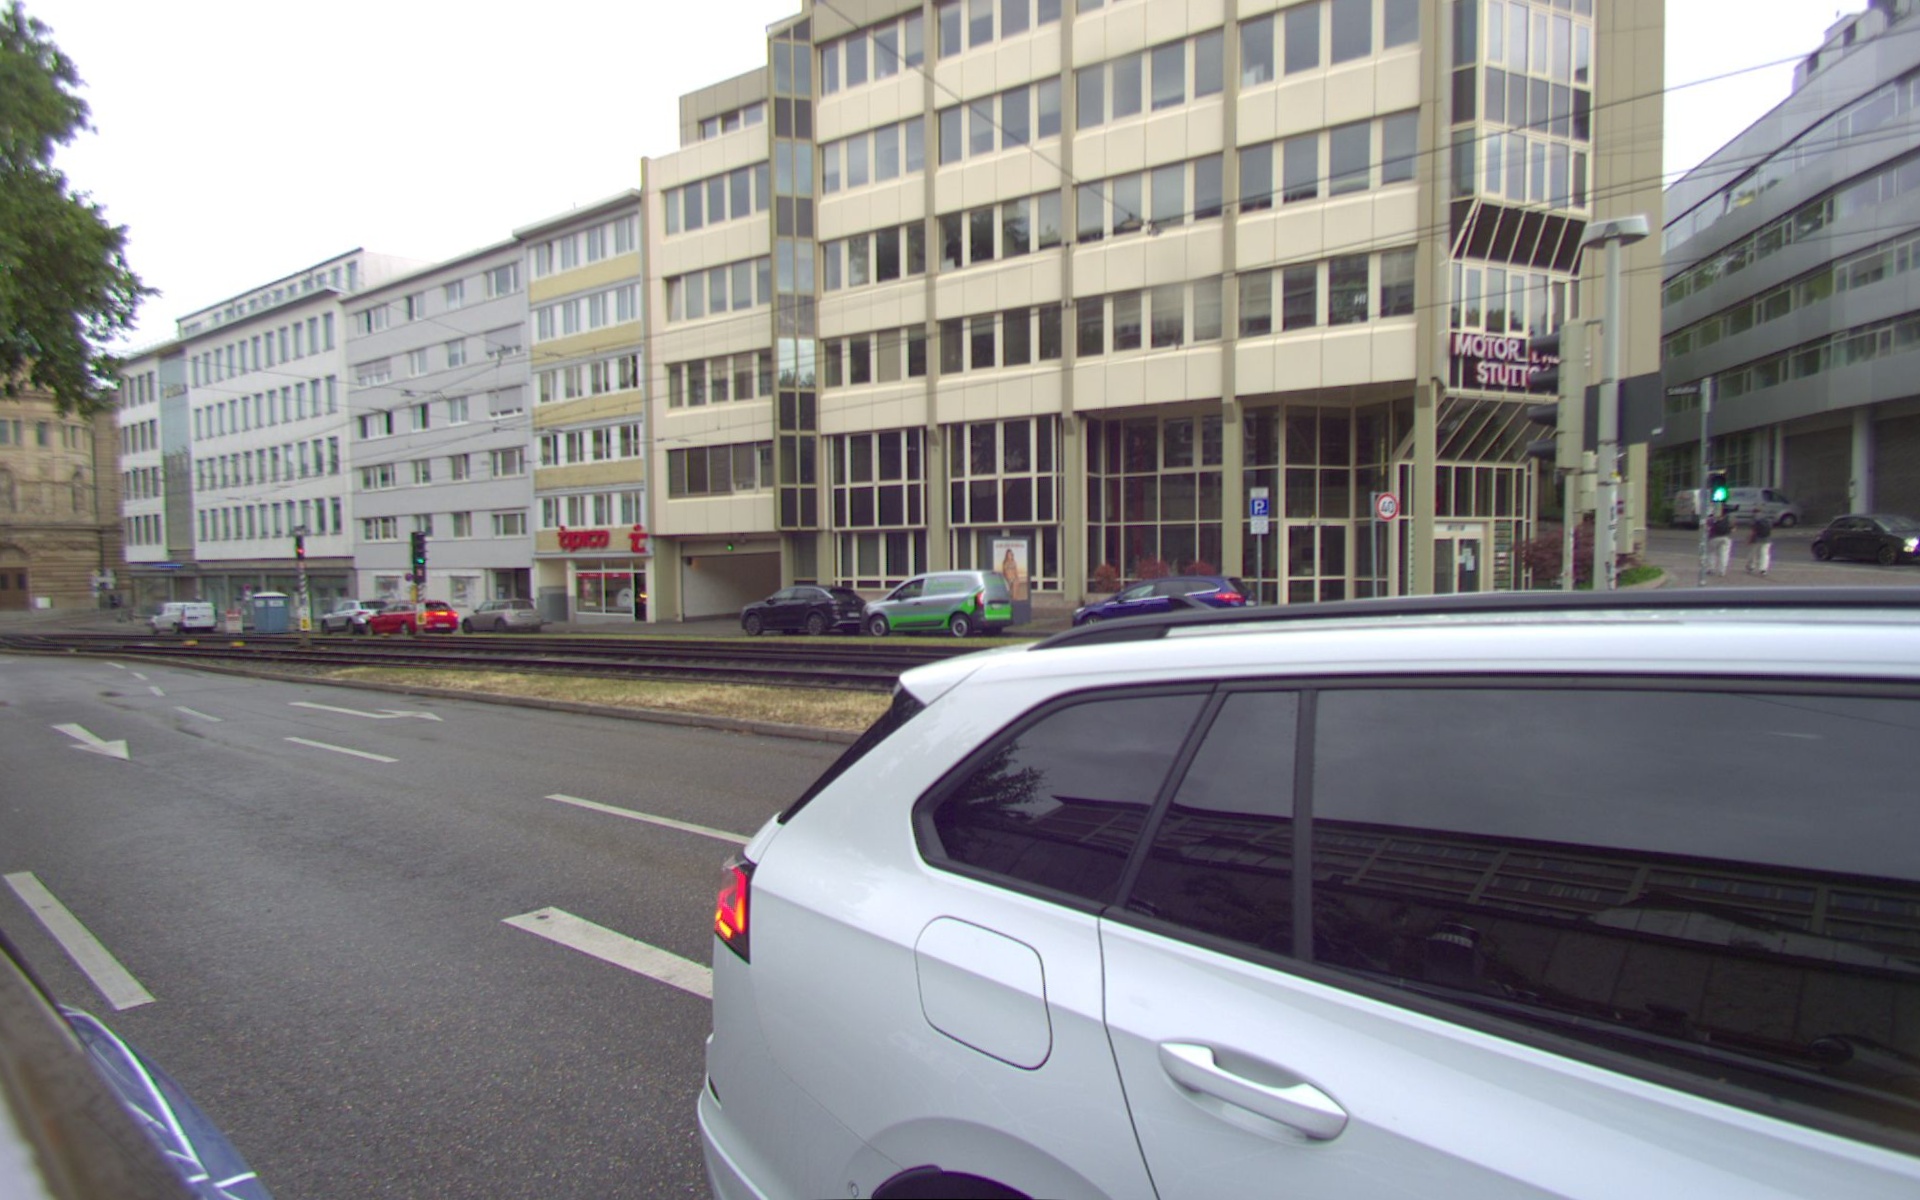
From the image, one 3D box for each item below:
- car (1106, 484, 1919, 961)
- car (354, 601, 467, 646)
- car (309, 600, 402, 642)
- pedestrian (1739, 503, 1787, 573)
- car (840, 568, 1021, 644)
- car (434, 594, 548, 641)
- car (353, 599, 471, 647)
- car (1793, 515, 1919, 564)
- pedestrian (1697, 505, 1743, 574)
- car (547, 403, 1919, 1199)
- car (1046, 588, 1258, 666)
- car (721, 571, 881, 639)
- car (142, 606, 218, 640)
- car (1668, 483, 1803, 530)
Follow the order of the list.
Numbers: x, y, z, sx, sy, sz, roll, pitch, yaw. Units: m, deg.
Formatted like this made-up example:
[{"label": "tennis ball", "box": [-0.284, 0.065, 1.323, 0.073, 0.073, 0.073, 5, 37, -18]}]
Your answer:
[{"label": "car", "box": [3.147, 0.343, 4.242, 4.638, 1.478, 1.974, -2, 2, 39]}, {"label": "car", "box": [-21.084, 0.874, 38.789, 4.315, 1.498, 1.978, 0, 4, 33]}, {"label": "car", "box": [-28.360, 1.000, 47.451, 4.686, 1.686, 1.977, -2, 3, 36]}, {"label": "pedestrian", "box": [21.341, -1.650, 26.914, 0.804, 1.800, 0.637, -1, 3, 18]}, {"label": "car", "box": [-0.850, 0.123, 28.017, 4.682, 1.863, 1.978, 0, 4, 34]}, {"label": "car", "box": [-18.947, 0.657, 40.849, 4.682, 1.686, 1.978, 0, 4, 34]}, {"label": "car", "box": [-21.106, 0.860, 38.925, 4.400, 1.652, 1.967, 0, 2, 30]}, {"label": "car", "box": [27.703, -1.831, 30.467, 1.803, 1.374, 4.004, -2, 3, -3]}, {"label": "pedestrian", "box": [20.152, -1.601, 26.851, 0.804, 1.800, 0.637, -1, 3, 18]}, {"label": "car", "box": [1.322, 0.629, 1.286, 4.251, 1.588, 1.662, -1, 1, 41]}, {"label": "car", "box": [4.528, 0.579, 24.082, 4.536, 1.593, 1.978, 0, 4, 34]}, {"label": "car", "box": [-4.881, 0.124, 30.932, 4.682, 1.863, 1.978, 0, 4, 34]}, {"label": "car", "box": [-46.837, 1.342, 60.763, 5.117, 1.856, 1.978, 0, 4, 34]}, {"label": "car", "box": [37.398, -4.488, 48.914, 4.779, 2.028, 1.996, -2, 3, 8]}]
